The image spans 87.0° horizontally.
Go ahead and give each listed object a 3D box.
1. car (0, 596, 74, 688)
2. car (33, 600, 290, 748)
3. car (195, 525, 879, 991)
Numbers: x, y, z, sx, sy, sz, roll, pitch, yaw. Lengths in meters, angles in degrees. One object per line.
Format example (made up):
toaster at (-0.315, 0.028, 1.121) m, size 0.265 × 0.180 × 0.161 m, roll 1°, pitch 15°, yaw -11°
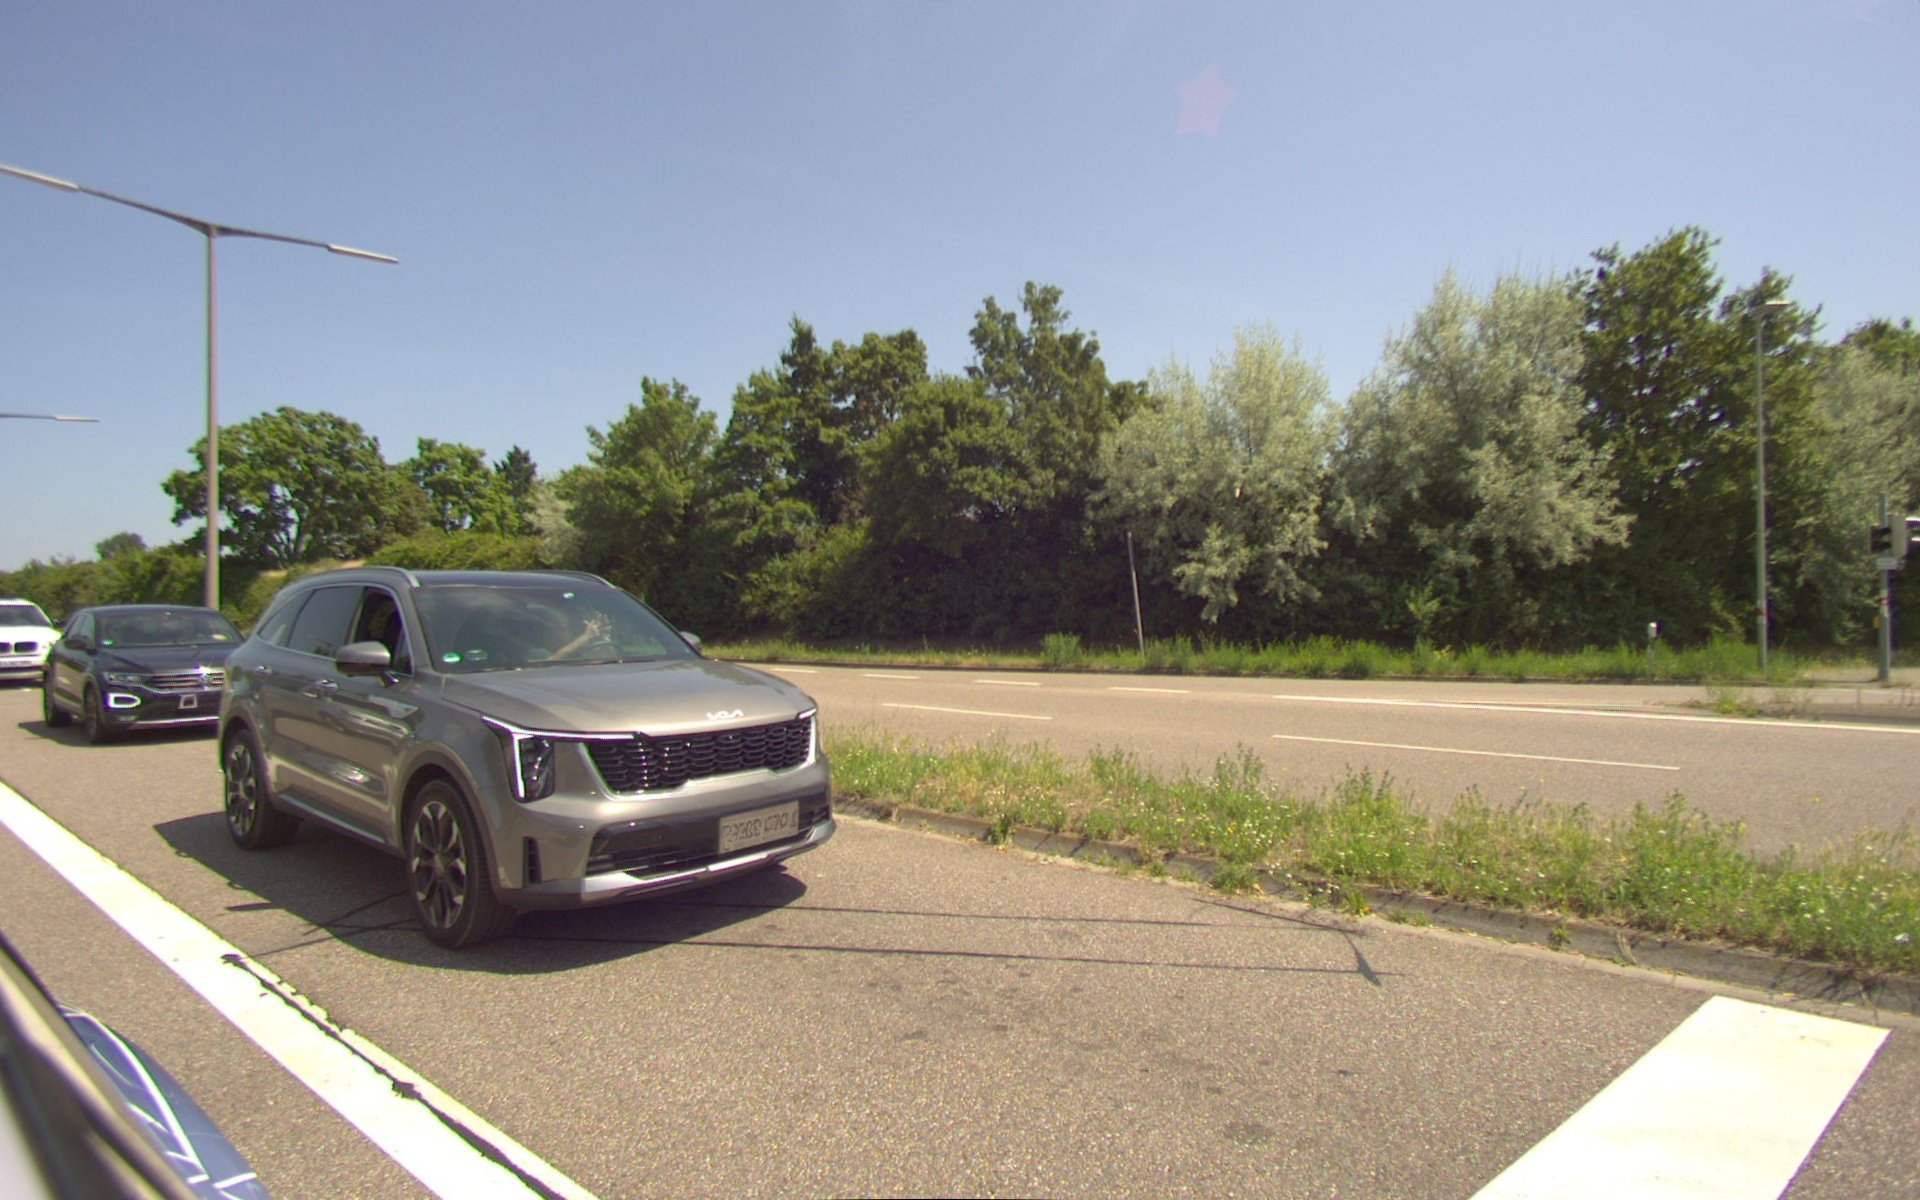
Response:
car at (-19.117, 0.779, 19.932) m, size 3.998 × 1.684 × 1.897 m, roll 0°, pitch -1°, yaw 40°
car at (-9.916, 0.791, 12.460) m, size 3.997 × 1.511 × 1.731 m, roll -1°, pitch 0°, yaw 40°
car at (-2.687, 0.602, 5.807) m, size 4.528 × 1.681 × 1.762 m, roll -1°, pitch -1°, yaw 40°
